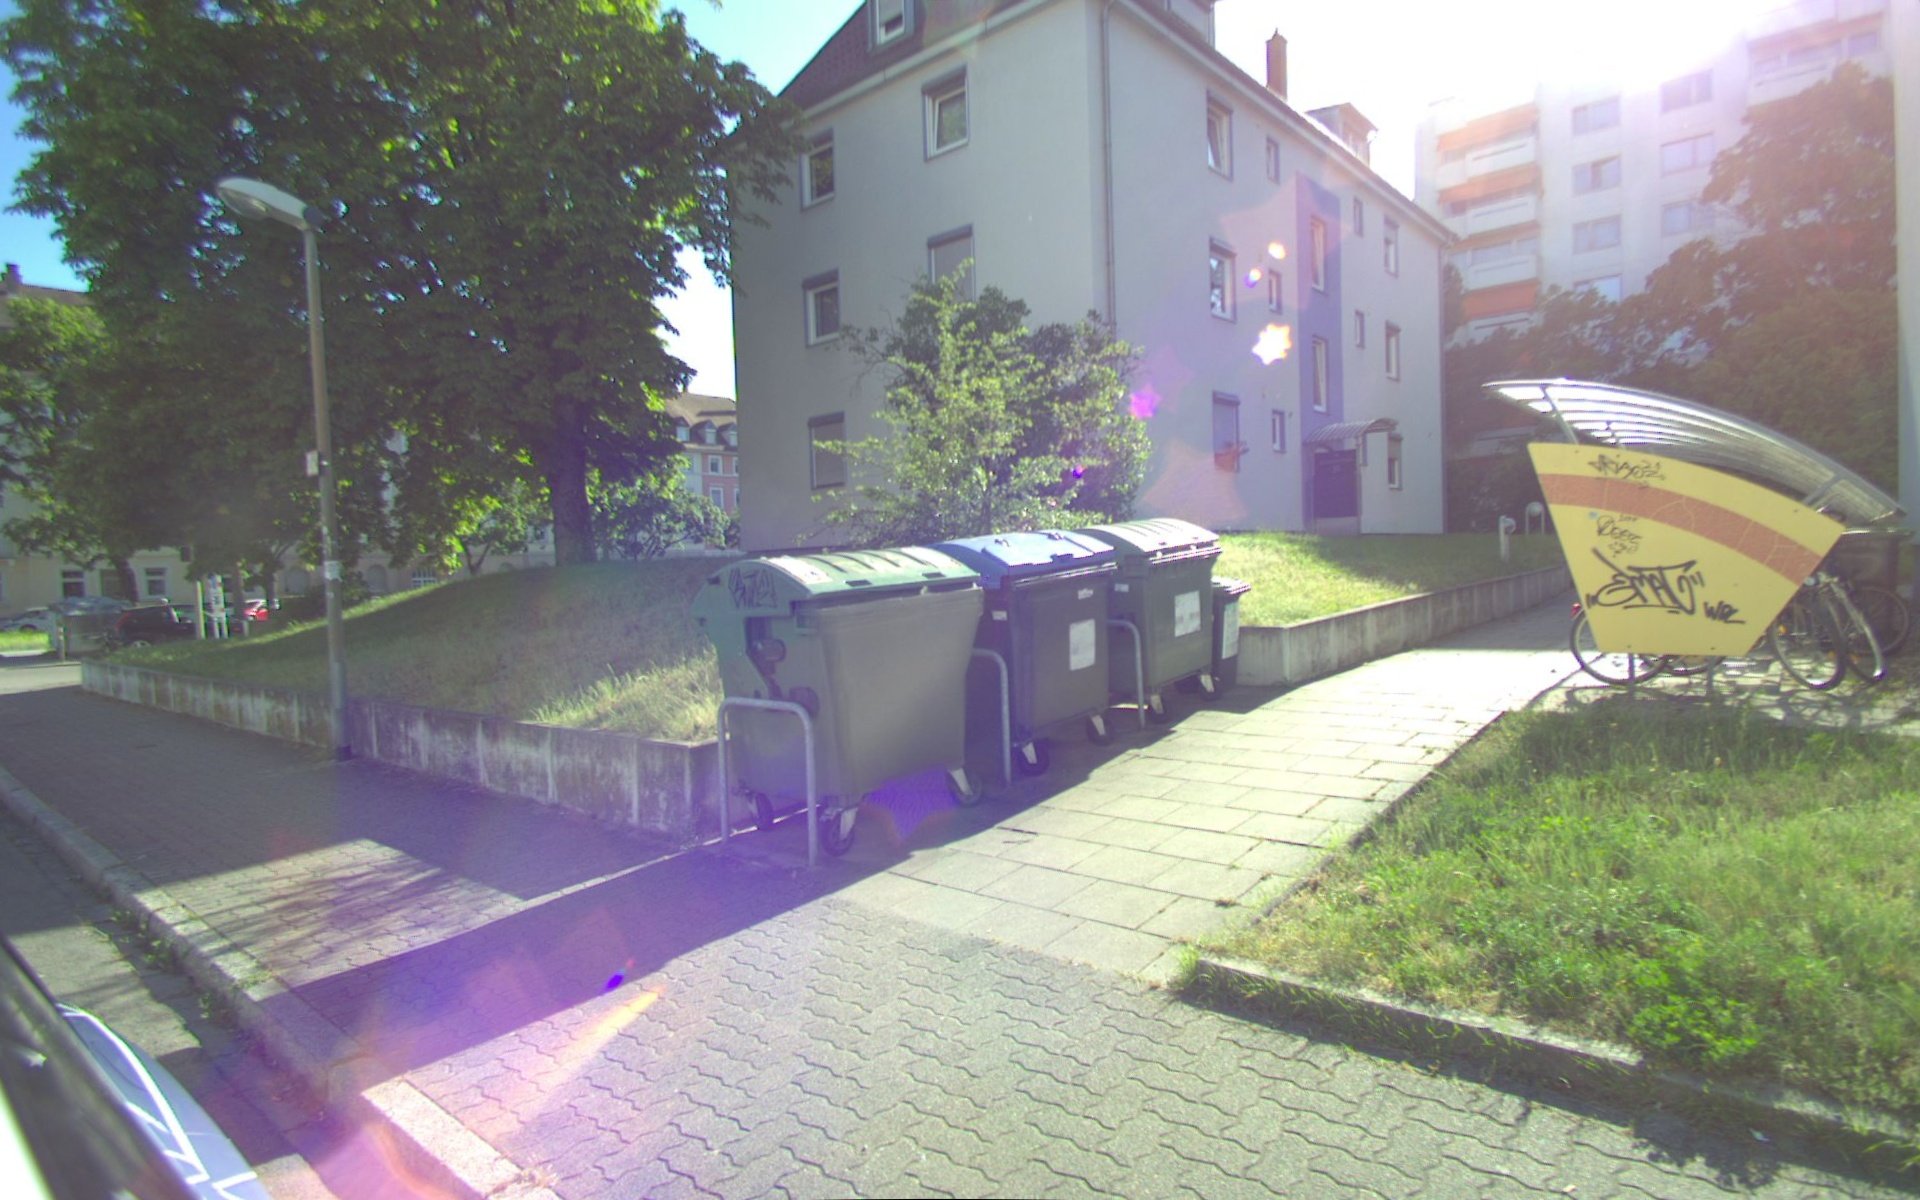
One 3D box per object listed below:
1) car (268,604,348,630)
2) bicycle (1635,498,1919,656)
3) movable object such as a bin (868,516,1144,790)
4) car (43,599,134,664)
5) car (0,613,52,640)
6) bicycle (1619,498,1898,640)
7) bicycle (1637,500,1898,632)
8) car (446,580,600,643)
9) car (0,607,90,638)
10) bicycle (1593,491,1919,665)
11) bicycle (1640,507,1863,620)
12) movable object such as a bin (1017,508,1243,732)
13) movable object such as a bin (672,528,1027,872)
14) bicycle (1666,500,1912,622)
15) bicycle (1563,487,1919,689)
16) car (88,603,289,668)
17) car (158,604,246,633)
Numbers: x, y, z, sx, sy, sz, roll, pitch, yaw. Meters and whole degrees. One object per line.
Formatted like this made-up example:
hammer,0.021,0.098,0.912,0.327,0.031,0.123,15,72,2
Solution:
car,-38.899,1.013,60.438,1.624,1.361,3.737,-1,1,42
bicycle,7.047,-0.185,8.681,2.008,1.227,0.670,-1,2,41
movable object such as a bin,0.322,0.271,6.512,1.082,1.470,1.342,-1,6,41
car,-24.455,0.845,28.365,1.655,1.667,3.306,-2,1,-45
car,-51.490,1.451,54.879,1.544,1.329,3.152,-1,1,40
bicycle,7.521,-0.267,9.628,2.008,1.227,0.633,-1,2,41
bicycle,8.174,-0.320,10.333,2.008,1.227,0.633,-1,2,41
car,-13.695,0.295,31.878,1.728,1.753,4.088,0,2,40
car,-46.896,1.136,51.565,1.624,1.456,3.737,-1,1,42
bicycle,6.259,-0.155,8.024,2.008,1.227,0.633,-1,2,41
bicycle,9.299,-0.405,11.958,2.008,1.227,0.633,-1,2,41
movable object such as a bin,1.319,0.099,7.719,1.072,1.463,1.347,-1,6,41
movable object such as a bin,-0.562,0.422,5.369,1.197,1.470,1.302,-1,5,41
bicycle,8.982,-0.395,11.049,2.008,1.227,0.633,-1,2,41
bicycle,5.493,-0.077,7.162,2.008,1.259,0.633,-1,2,41
car,-20.943,0.907,27.608,1.728,1.508,4.087,-1,1,41
car,-42.519,1.026,56.820,1.624,1.456,3.737,-1,1,42
